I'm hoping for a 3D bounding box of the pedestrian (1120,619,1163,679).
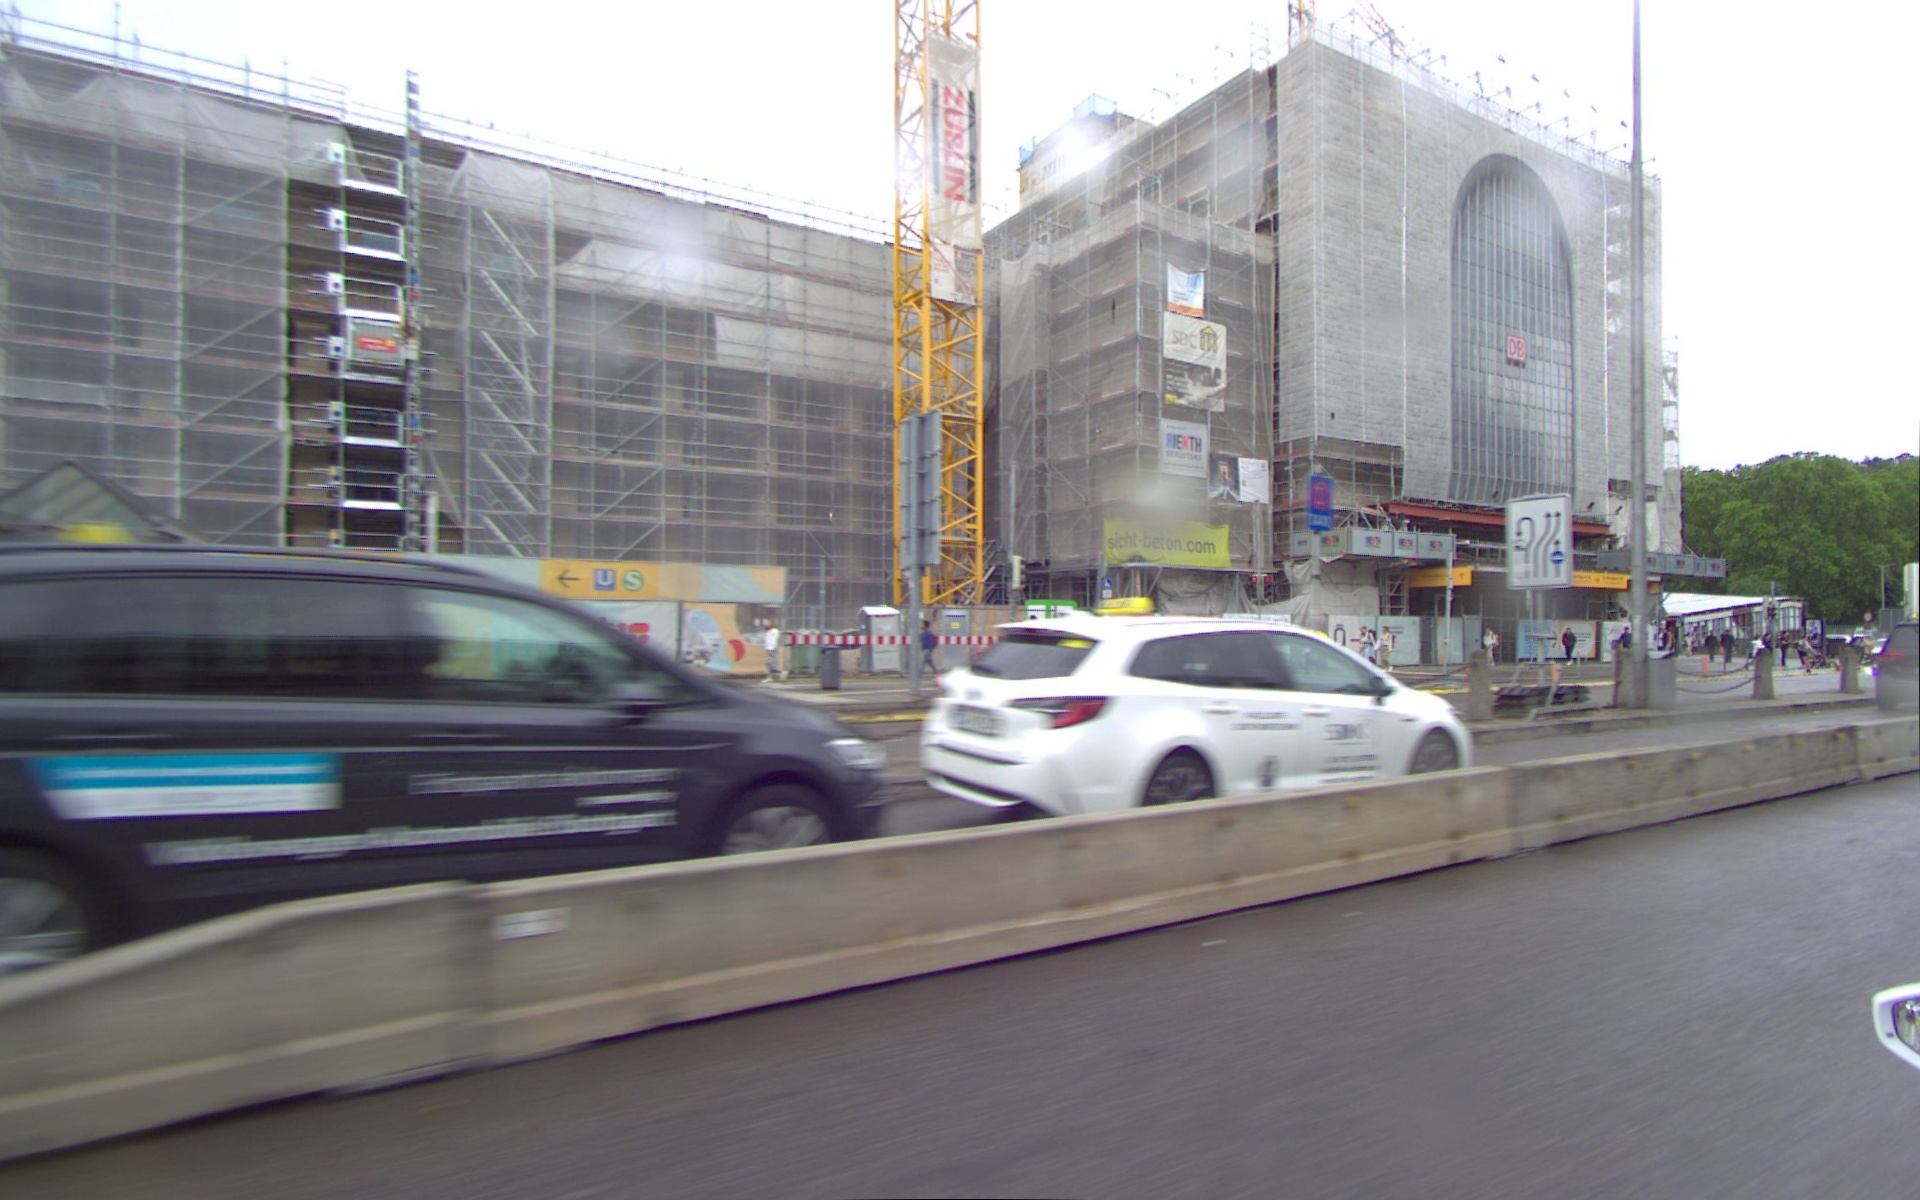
[{"bbox_3d":[5.763,1.559,31.957,1.045,1.865,0.836,1,-1,-28],"label":"pedestrian"}]

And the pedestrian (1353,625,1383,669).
[{"bbox_3d":[15.536,1.794,38.258,0.828,1.635,0.673,1,-1,-29],"label":"pedestrian"}]

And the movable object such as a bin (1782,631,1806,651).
[{"bbox_3d":[43.150,2.121,51.969,0.713,0.983,0.754,1,-1,-33],"label":"movable object such as a bin"}]

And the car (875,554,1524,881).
[{"bbox_3d":[1.939,0.691,7.470,4.781,1.728,1.982,1,-2,-33],"label":"car"}]

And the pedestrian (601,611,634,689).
[{"bbox_3d":[-8.380,1.205,24.583,0.648,1.865,0.739,1,-1,-28],"label":"pedestrian"}]

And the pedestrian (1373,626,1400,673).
[{"bbox_3d":[15.719,1.803,37.024,0.674,1.708,0.833,0,-1,45],"label":"pedestrian"}]

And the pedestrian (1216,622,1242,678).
[{"bbox_3d":[9.079,1.685,33.884,0.565,1.865,0.700,0,-1,45],"label":"pedestrian"}]

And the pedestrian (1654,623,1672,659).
[{"bbox_3d":[37.159,2.144,53.091,0.668,1.865,0.716,0,-1,45],"label":"pedestrian"}]

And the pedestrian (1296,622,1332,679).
[{"bbox_3d":[11.732,1.664,33.301,0.866,1.865,0.833,0,-1,45],"label":"pedestrian"}]

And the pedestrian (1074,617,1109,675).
[{"bbox_3d":[4.319,1.498,33.053,0.840,1.865,0.799,1,-1,-28],"label":"pedestrian"}]

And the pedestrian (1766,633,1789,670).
[{"bbox_3d":[42.831,2.687,52.623,0.869,1.865,0.693,2,0,-34],"label":"pedestrian"}]

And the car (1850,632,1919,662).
[{"bbox_3d":[50.558,2.558,54.784,3.955,1.487,1.983,2,-1,-32],"label":"car"}]

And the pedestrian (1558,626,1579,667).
[{"bbox_3d":[28.173,2.130,46.492,0.763,1.865,0.533,1,-1,-31],"label":"pedestrian"}]

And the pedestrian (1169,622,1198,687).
[{"bbox_3d":[6.605,1.595,29.644,0.698,1.865,0.503,1,-1,-37],"label":"pedestrian"}]

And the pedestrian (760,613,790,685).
[{"bbox_3d":[-4.928,1.293,26.764,0.604,1.865,0.718,1,-1,-27],"label":"pedestrian"}]

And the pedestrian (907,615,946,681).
[{"bbox_3d":[-0.964,1.357,28.668,0.857,1.865,0.799,1,-1,-28],"label":"pedestrian"}]

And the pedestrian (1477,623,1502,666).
[{"bbox_3d":[23.008,1.923,43.621,0.763,1.865,0.830,0,-1,45],"label":"pedestrian"}]

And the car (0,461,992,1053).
[{"bbox_3d":[-2.383,0.549,4.764,4.776,1.887,1.984,1,-2,-30],"label":"car"}]

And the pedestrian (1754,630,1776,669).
[{"bbox_3d":[39.259,2.409,48.976,0.767,1.865,0.635,1,-1,-32],"label":"pedestrian"}]

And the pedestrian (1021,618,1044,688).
[{"bbox_3d":[1.962,1.433,27.169,0.501,1.865,0.339,1,-1,-16],"label":"pedestrian"}]

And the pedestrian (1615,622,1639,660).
[{"bbox_3d":[33.288,2.031,50.129,0.763,1.865,0.774,1,-1,-32],"label":"pedestrian"}]

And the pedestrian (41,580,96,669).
[{"bbox_3d":[-17.340,0.474,19.546,0.695,1.693,0.797,1,-1,-36],"label":"pedestrian"}]

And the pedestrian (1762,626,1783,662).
[{"bbox_3d":[42.259,2.273,52.232,0.523,1.865,0.693,1,-1,-33],"label":"pedestrian"}]

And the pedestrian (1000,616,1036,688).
[{"bbox_3d":[1.525,1.372,26.577,0.861,1.865,0.704,1,-1,-2],"label":"pedestrian"}]

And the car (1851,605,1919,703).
[{"bbox_3d":[18.485,0.976,18.495,4.592,1.675,1.982,1,-2,-33],"label":"car"}]

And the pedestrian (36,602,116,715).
[{"bbox_3d":[-14.905,0.969,16.956,0.689,1.865,0.745,1,-1,-11],"label":"pedestrian"}]
